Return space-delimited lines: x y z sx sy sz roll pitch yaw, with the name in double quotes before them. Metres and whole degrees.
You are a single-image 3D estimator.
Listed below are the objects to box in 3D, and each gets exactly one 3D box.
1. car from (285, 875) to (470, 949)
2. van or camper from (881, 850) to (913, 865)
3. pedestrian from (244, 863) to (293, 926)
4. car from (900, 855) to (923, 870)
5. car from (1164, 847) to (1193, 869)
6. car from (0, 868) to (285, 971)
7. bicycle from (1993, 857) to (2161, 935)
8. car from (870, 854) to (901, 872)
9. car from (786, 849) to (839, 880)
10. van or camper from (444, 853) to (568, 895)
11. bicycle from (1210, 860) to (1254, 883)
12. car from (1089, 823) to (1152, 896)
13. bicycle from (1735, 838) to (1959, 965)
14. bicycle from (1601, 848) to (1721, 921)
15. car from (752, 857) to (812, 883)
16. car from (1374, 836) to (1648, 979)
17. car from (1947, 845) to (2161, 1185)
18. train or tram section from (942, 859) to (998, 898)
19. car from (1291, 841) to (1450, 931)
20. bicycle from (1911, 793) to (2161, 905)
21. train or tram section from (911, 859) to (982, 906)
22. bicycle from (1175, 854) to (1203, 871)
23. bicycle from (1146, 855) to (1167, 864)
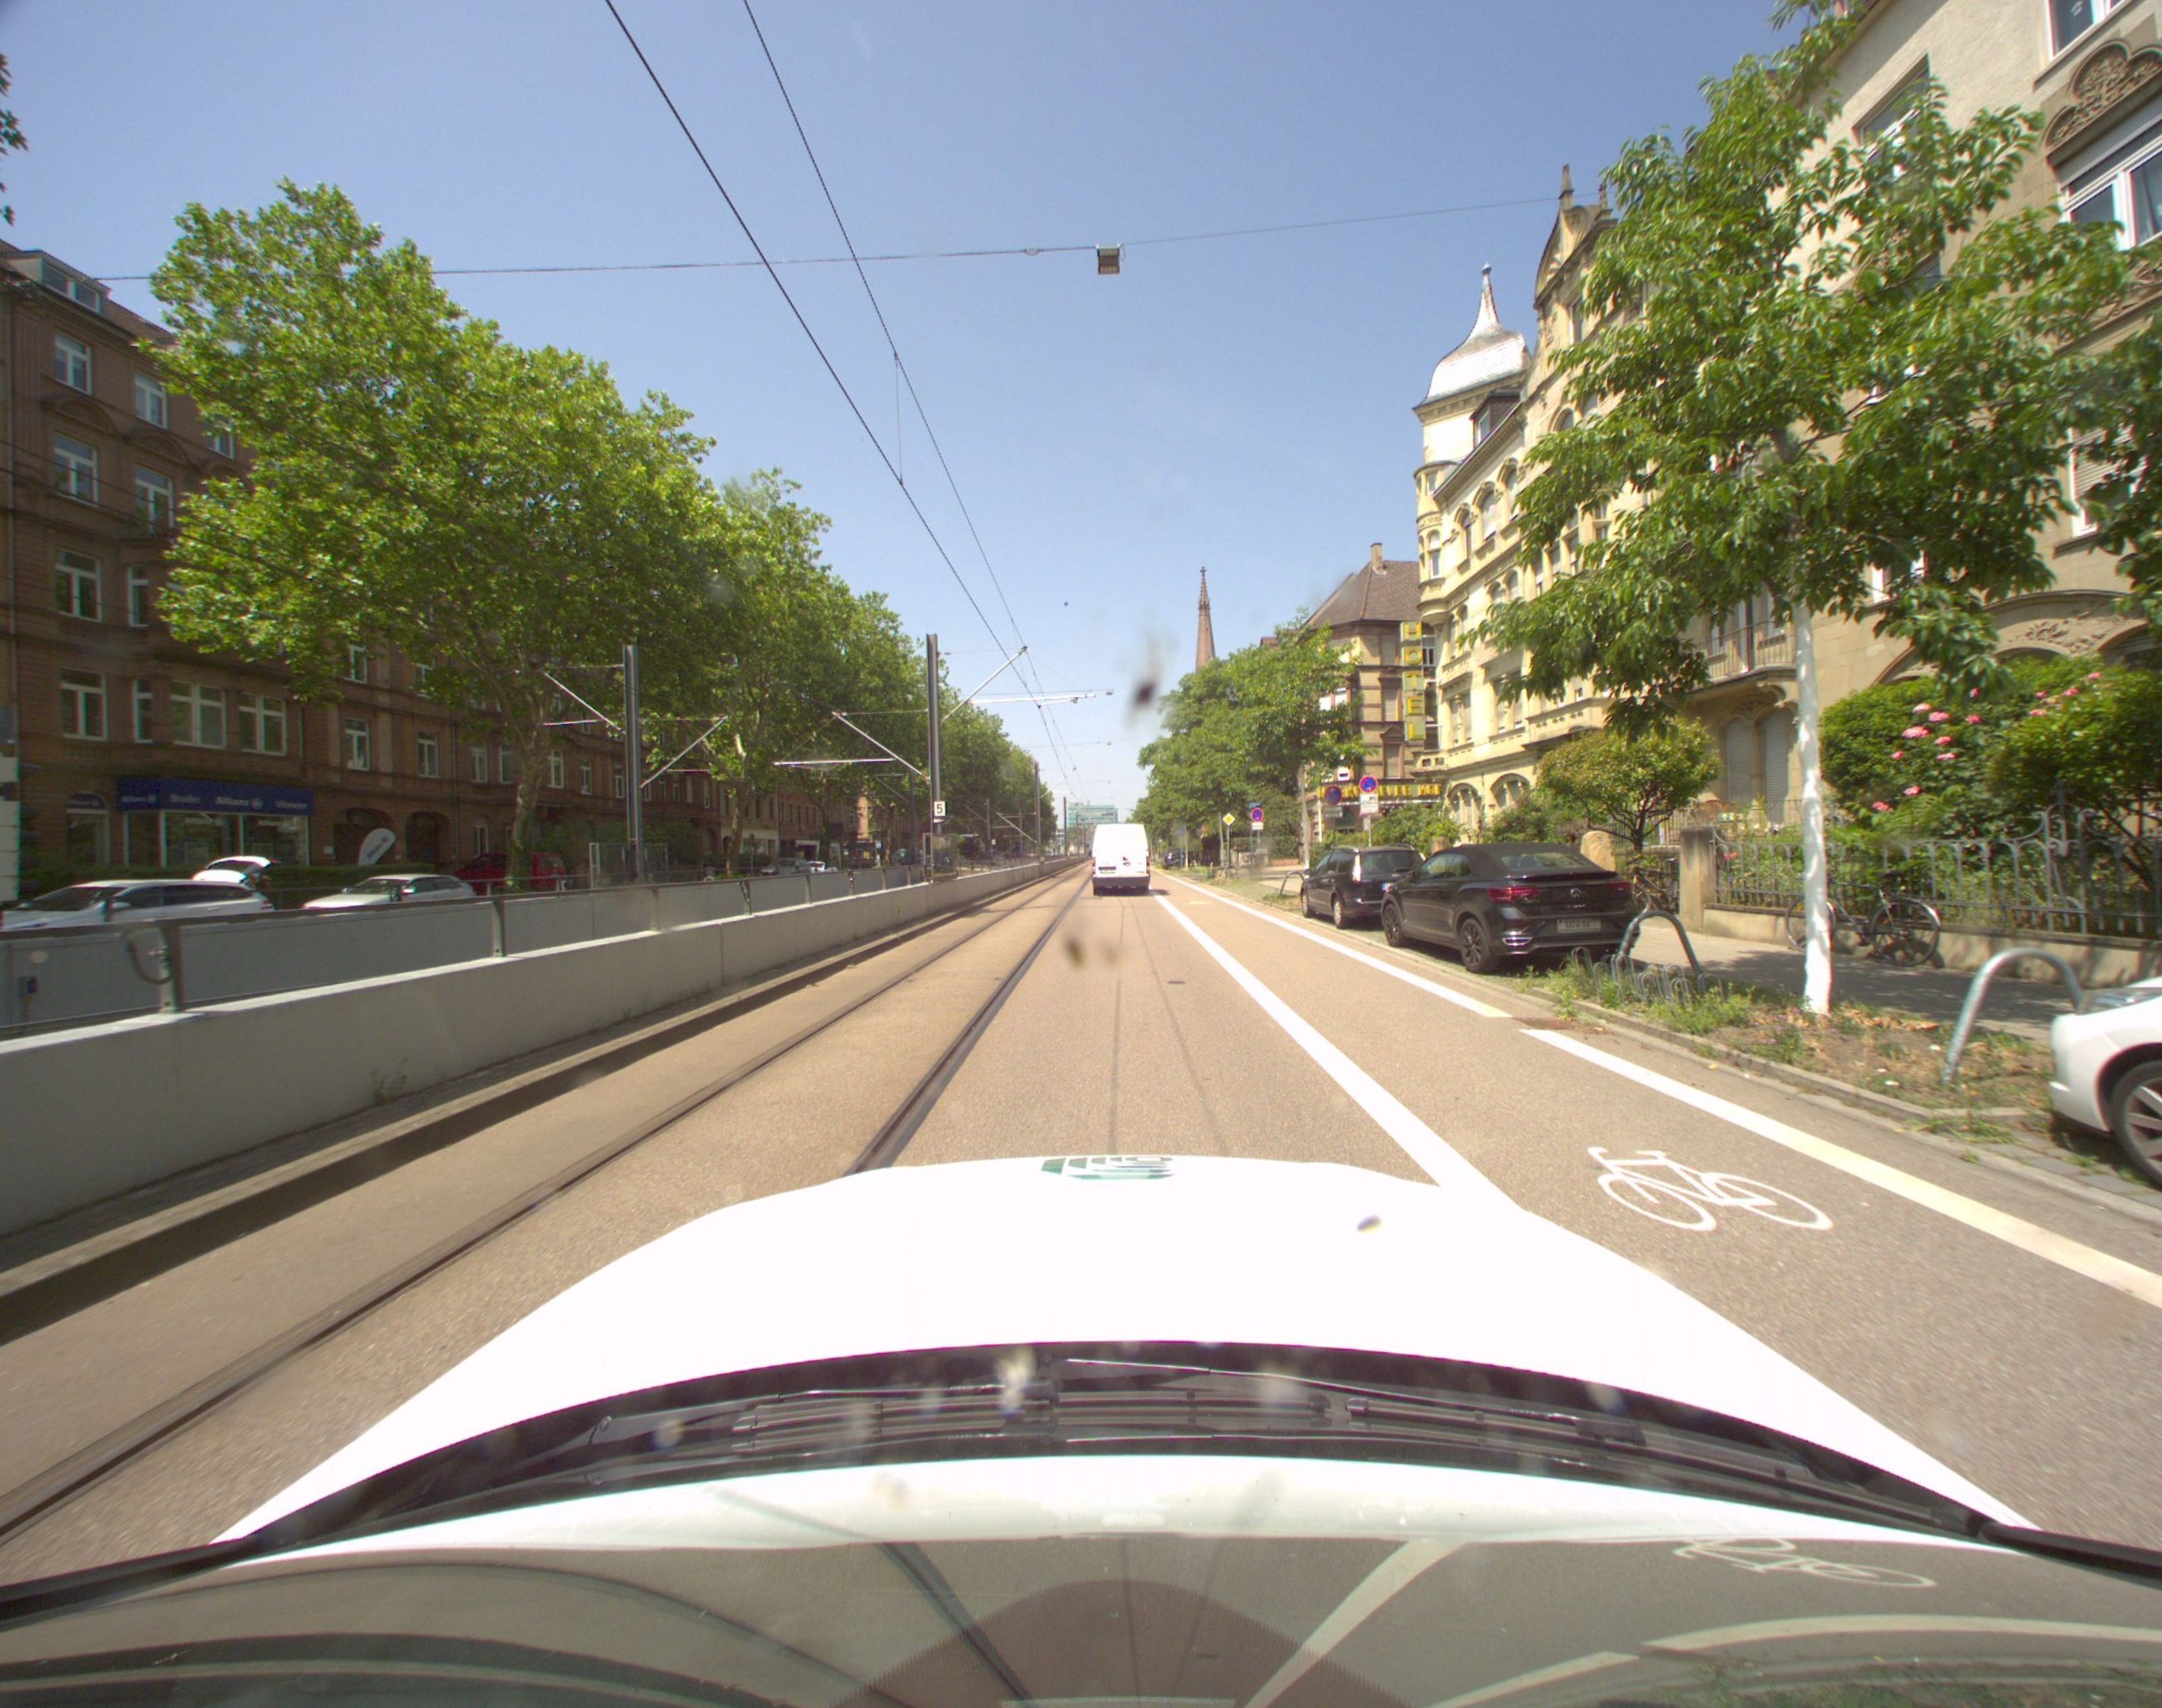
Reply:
"car" -18.639 1.462 21.825 1.648 1.684 3.708 -1 0 1
"van or camper" -25.995 0.544 115.239 3.975 2.013 1.999 -1 0 -1
"pedestrian" -18.943 0.928 19.000 0.735 1.426 0.509 -1 0 -39
"car" -16.580 0.828 79.756 1.368 1.424 3.090 -2 0 3
"car" 7.832 0.310 65.637 2.147 1.670 4.005 -1 0 4
"car" -18.841 1.138 15.840 1.986 1.625 4.719 -1 0 1
"bicycle" 14.292 0.545 11.141 0.581 0.986 2.760 -1 0 1
"car" -17.191 0.768 71.923 1.586 1.448 4.002 -1 0 2
"car" -17.464 0.652 53.181 1.986 1.904 4.149 -1 0 1
"van or camper" -26.634 0.918 37.802 4.519 1.836 1.936 -1 0 7
"bicycle" 6.630 0.754 35.802 1.834 0.953 0.503 -2 0 3
"car" 1.436 0.183 30.399 2.109 2.459 5.056 -1 0 2
"bicycle" 8.496 0.476 9.185 0.590 1.262 2.093 -1 0 2
"bicycle" 9.894 0.517 13.915 1.683 1.076 0.343 -6 0 1
"car" -17.534 0.887 47.949 1.845 1.401 4.198 -1 0 1
"car" 5.447 0.583 10.955 1.660 1.530 4.015 -2 0 2
"car" 5.271 0.670 2.237 1.605 1.405 4.002 -2 0 2
"train or tram section" -7.834 1.634 58.556 2.719 2.508 8.006 -1 0 1
"car" 5.603 0.556 16.381 1.723 1.536 4.406 -1 0 2
"bicycle" 12.937 -0.075 11.070 0.562 1.332 2.691 -2 0 1
"train or tram section" -8.094 1.648 50.243 2.719 2.508 8.519 -1 0 1
"bicycle" 7.556 0.584 56.901 1.881 1.182 0.640 -1 0 0
"bicycle" 7.991 0.589 85.890 1.548 0.826 4.016 -1 0 15
